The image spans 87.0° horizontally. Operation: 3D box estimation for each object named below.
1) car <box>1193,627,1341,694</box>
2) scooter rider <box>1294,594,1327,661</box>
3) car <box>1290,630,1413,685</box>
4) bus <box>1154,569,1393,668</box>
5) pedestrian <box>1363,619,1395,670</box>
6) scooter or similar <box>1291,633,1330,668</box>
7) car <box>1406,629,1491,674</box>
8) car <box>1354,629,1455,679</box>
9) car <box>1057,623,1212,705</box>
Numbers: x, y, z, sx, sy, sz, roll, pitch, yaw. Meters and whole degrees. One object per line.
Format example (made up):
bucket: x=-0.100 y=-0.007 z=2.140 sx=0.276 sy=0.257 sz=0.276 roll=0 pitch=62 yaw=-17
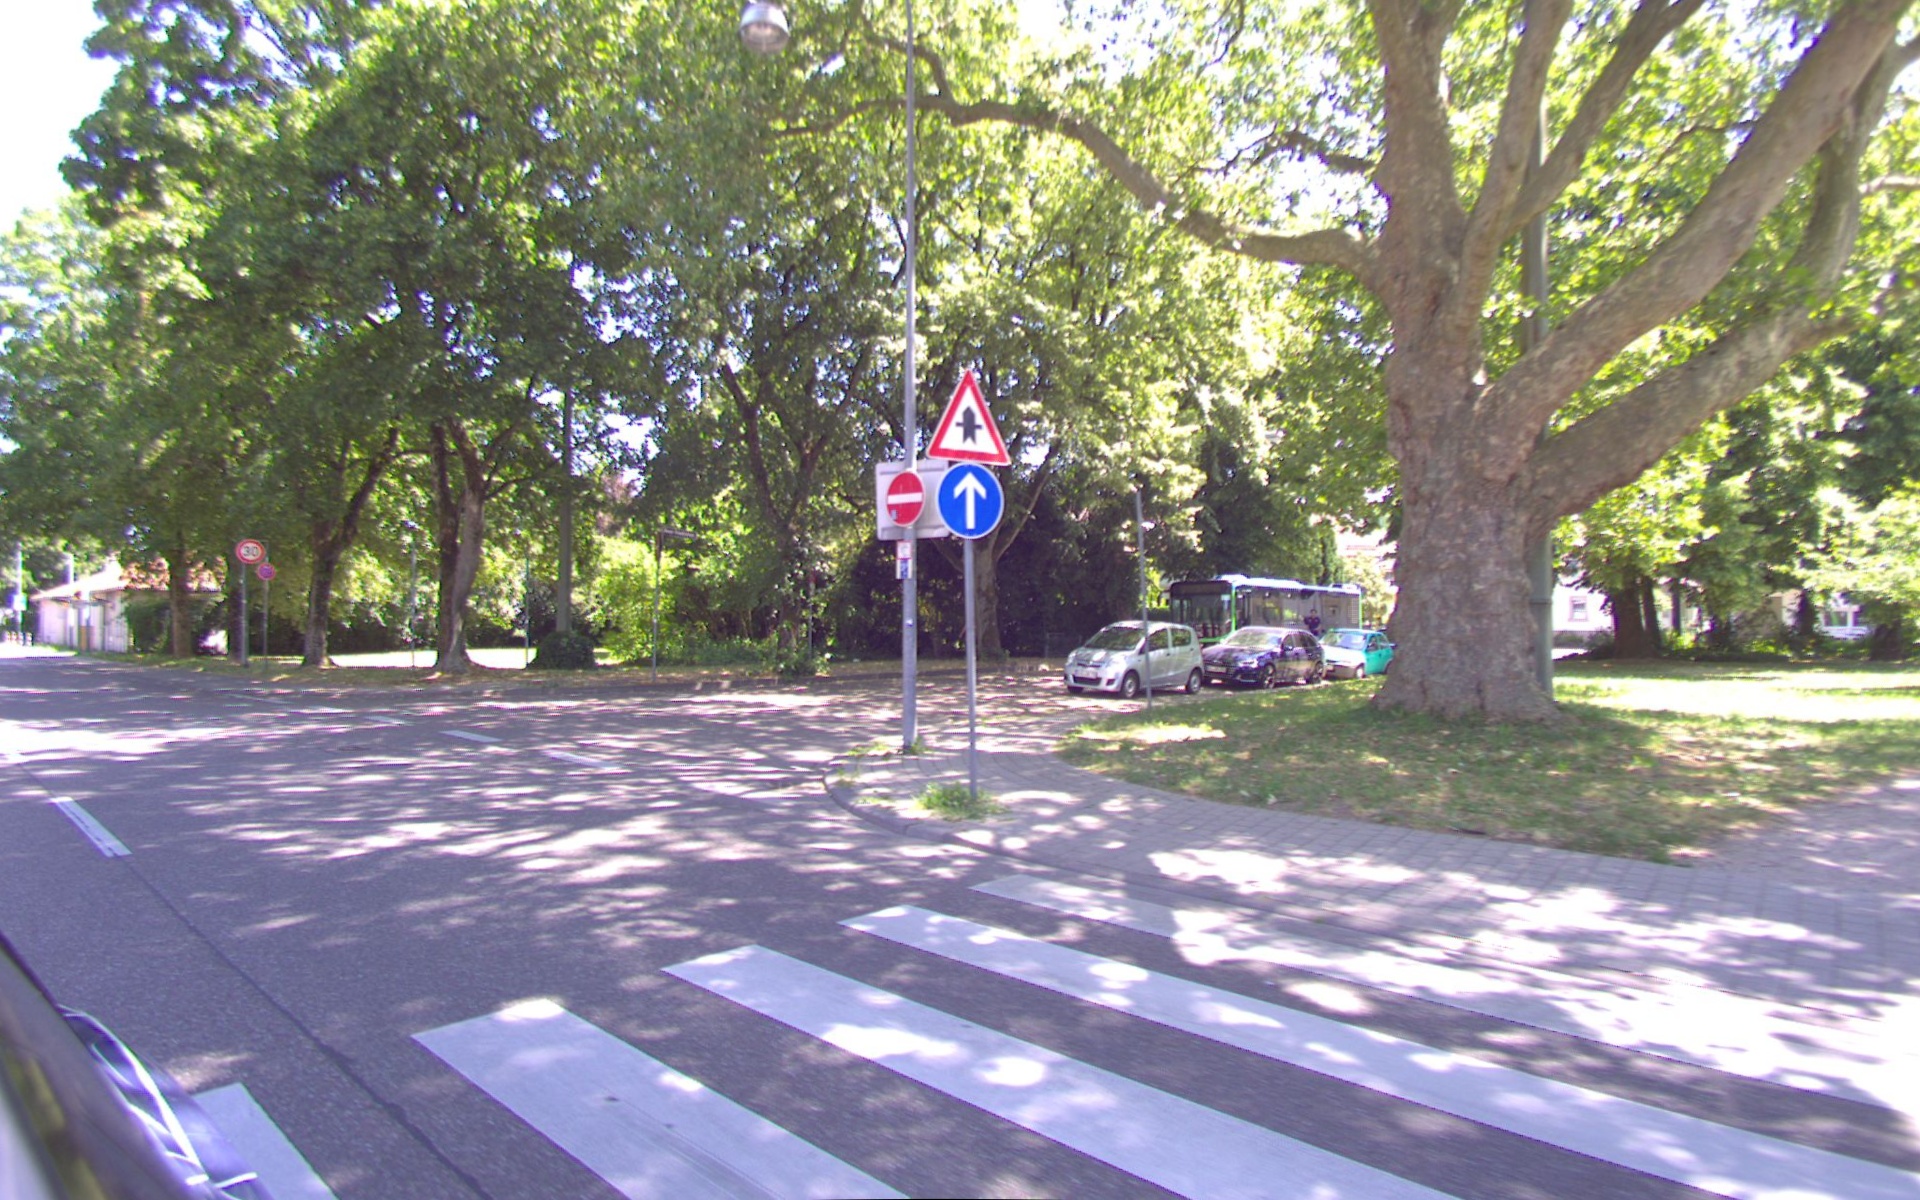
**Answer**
car: x=7.604 y=1.407 z=24.813 sx=1.756 sy=1.450 sz=4.440 roll=0 pitch=-1 yaw=42
scooter rider: x=12.428 y=0.986 z=35.886 sx=0.741 sy=2.335 sz=0.913 roll=-2 pitch=-2 yaw=44
car: x=11.423 y=1.598 z=29.325 sx=1.756 sy=1.450 sz=4.703 roll=-1 pitch=-2 yaw=42
bus: x=13.217 y=0.804 z=40.840 sx=2.877 sy=3.320 sz=15.727 roll=-2 pitch=-2 yaw=42
pedestrian: x=15.270 y=1.604 z=36.860 sx=0.926 sy=1.816 sz=0.723 roll=1 pitch=-2 yaw=-42
scooter or similar: x=12.422 y=1.768 z=35.859 sx=0.741 sy=1.192 sz=1.497 roll=-2 pitch=-2 yaw=44
car: x=17.587 y=1.819 z=36.348 sx=1.759 sy=1.504 sz=3.863 roll=-1 pitch=-2 yaw=42
car: x=14.537 y=1.693 z=32.981 sx=1.759 sy=1.504 sz=4.314 roll=-1 pitch=-2 yaw=42
car: x=3.694 y=1.260 z=21.109 sx=1.600 sy=1.508 sz=3.437 roll=0 pitch=-1 yaw=42
